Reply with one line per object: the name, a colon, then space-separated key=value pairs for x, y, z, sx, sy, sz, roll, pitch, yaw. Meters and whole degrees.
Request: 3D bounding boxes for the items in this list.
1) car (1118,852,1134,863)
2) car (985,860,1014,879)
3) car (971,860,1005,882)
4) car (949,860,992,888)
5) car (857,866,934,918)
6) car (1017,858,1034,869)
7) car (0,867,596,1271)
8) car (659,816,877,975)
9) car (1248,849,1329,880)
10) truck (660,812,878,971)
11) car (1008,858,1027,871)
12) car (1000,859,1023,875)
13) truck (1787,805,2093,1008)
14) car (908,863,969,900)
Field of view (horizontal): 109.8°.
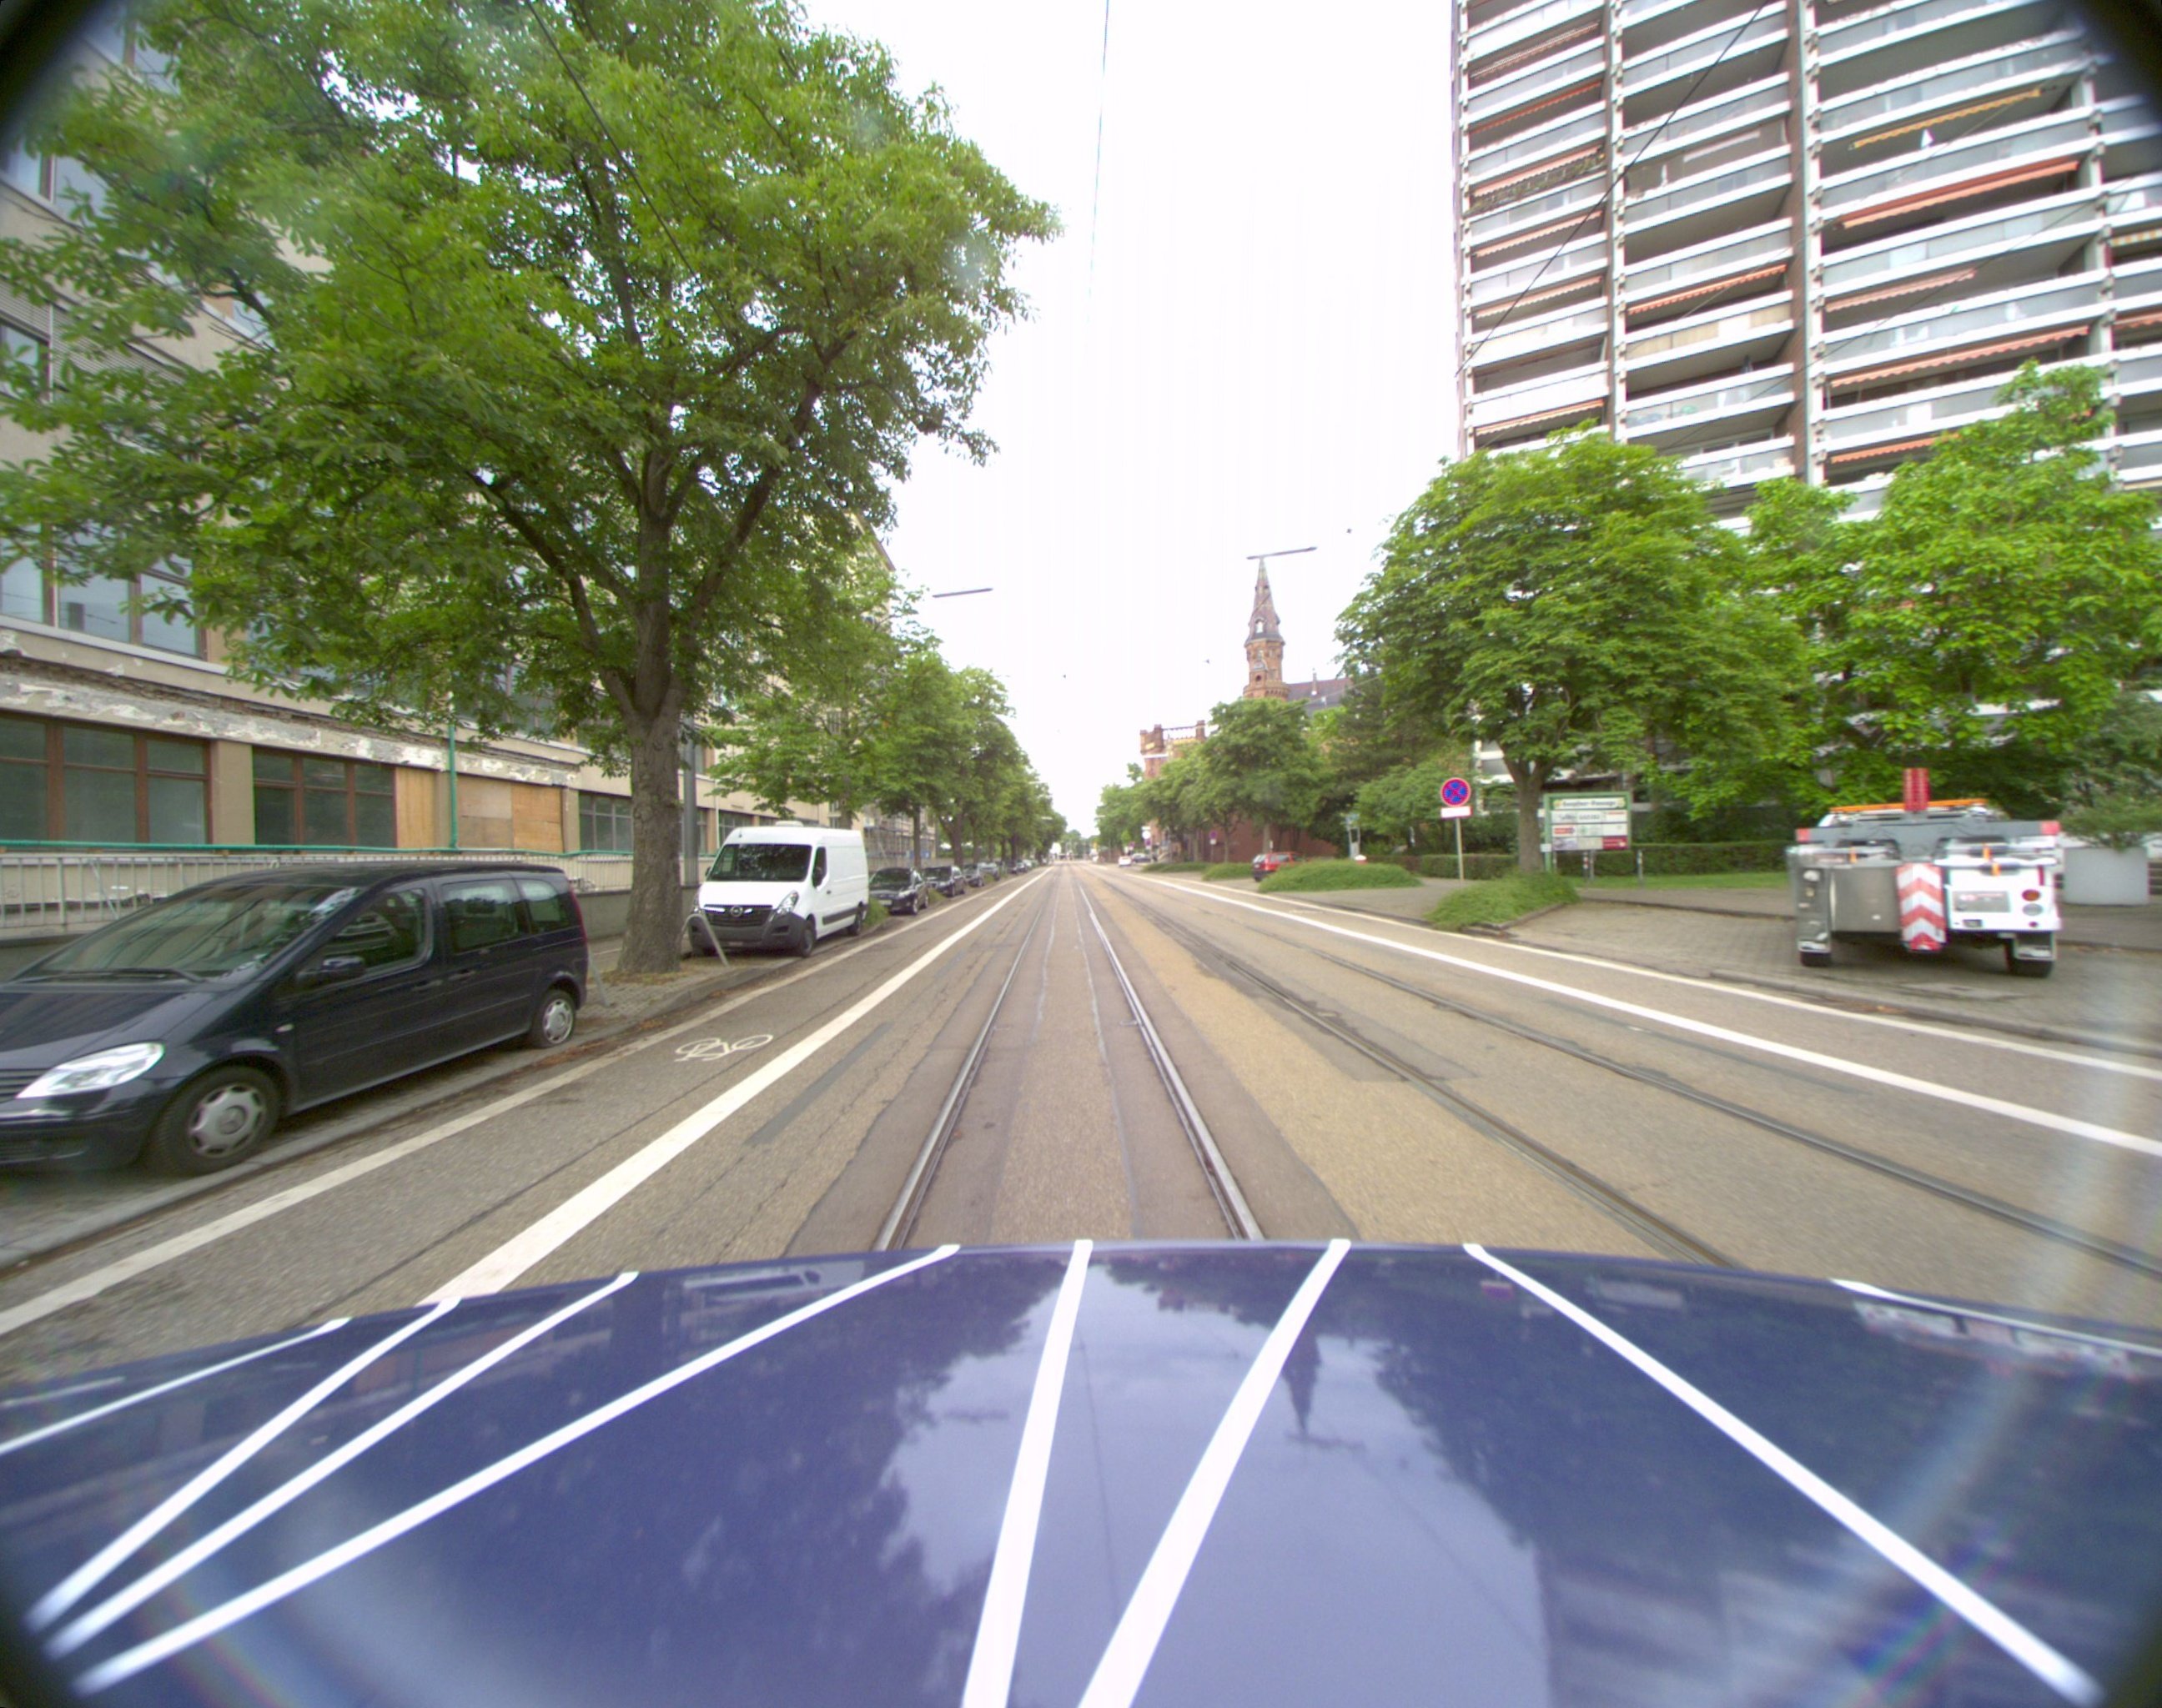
car: x=6.544 y=0.539 z=110.540 sx=1.999 sy=1.521 sz=3.999 roll=-1 pitch=0 yaw=-1
car: x=-6.769 y=1.258 z=63.511 sx=1.999 sy=1.452 sz=4.392 roll=-2 pitch=0 yaw=-1
car: x=-6.726 y=1.198 z=55.462 sx=1.999 sy=1.452 sz=4.392 roll=-2 pitch=0 yaw=-1
car: x=-6.629 y=1.173 z=46.135 sx=1.999 sy=1.452 sz=4.392 roll=-2 pitch=0 yaw=-1
car: x=-5.980 y=1.178 z=24.979 sx=1.826 sy=1.491 sz=4.104 roll=0 pitch=1 yaw=-5
car: x=-7.570 y=1.289 z=104.160 sx=1.999 sy=1.452 sz=4.392 roll=-2 pitch=0 yaw=-1
car: x=-5.742 y=1.090 z=5.635 sx=1.658 sy=1.802 sz=4.083 roll=-2 pitch=1 yaw=-1
car: x=-5.969 y=0.691 z=15.462 sx=2.118 sy=2.587 sz=5.491 roll=-2 pitch=0 yaw=-1
car: x=10.210 y=0.487 z=37.482 sx=3.505 sy=1.369 sz=1.632 roll=-3 pitch=1 yaw=-15
truck: x=-5.970 y=0.629 z=15.512 sx=2.118 sy=2.587 sz=5.491 roll=-2 pitch=0 yaw=-1
car: x=-7.479 y=1.210 z=90.035 sx=1.999 sy=1.452 sz=4.392 roll=-2 pitch=0 yaw=-1
car: x=-7.108 y=1.338 z=78.355 sx=1.999 sy=1.452 sz=4.392 roll=-2 pitch=0 yaw=-1
truck: x=10.201 y=0.434 z=9.375 sx=1.994 sy=1.838 sz=5.074 roll=-2 pitch=0 yaw=45
car: x=-6.383 y=1.199 z=34.572 sx=1.999 sy=1.452 sz=4.392 roll=-2 pitch=0 yaw=-1
